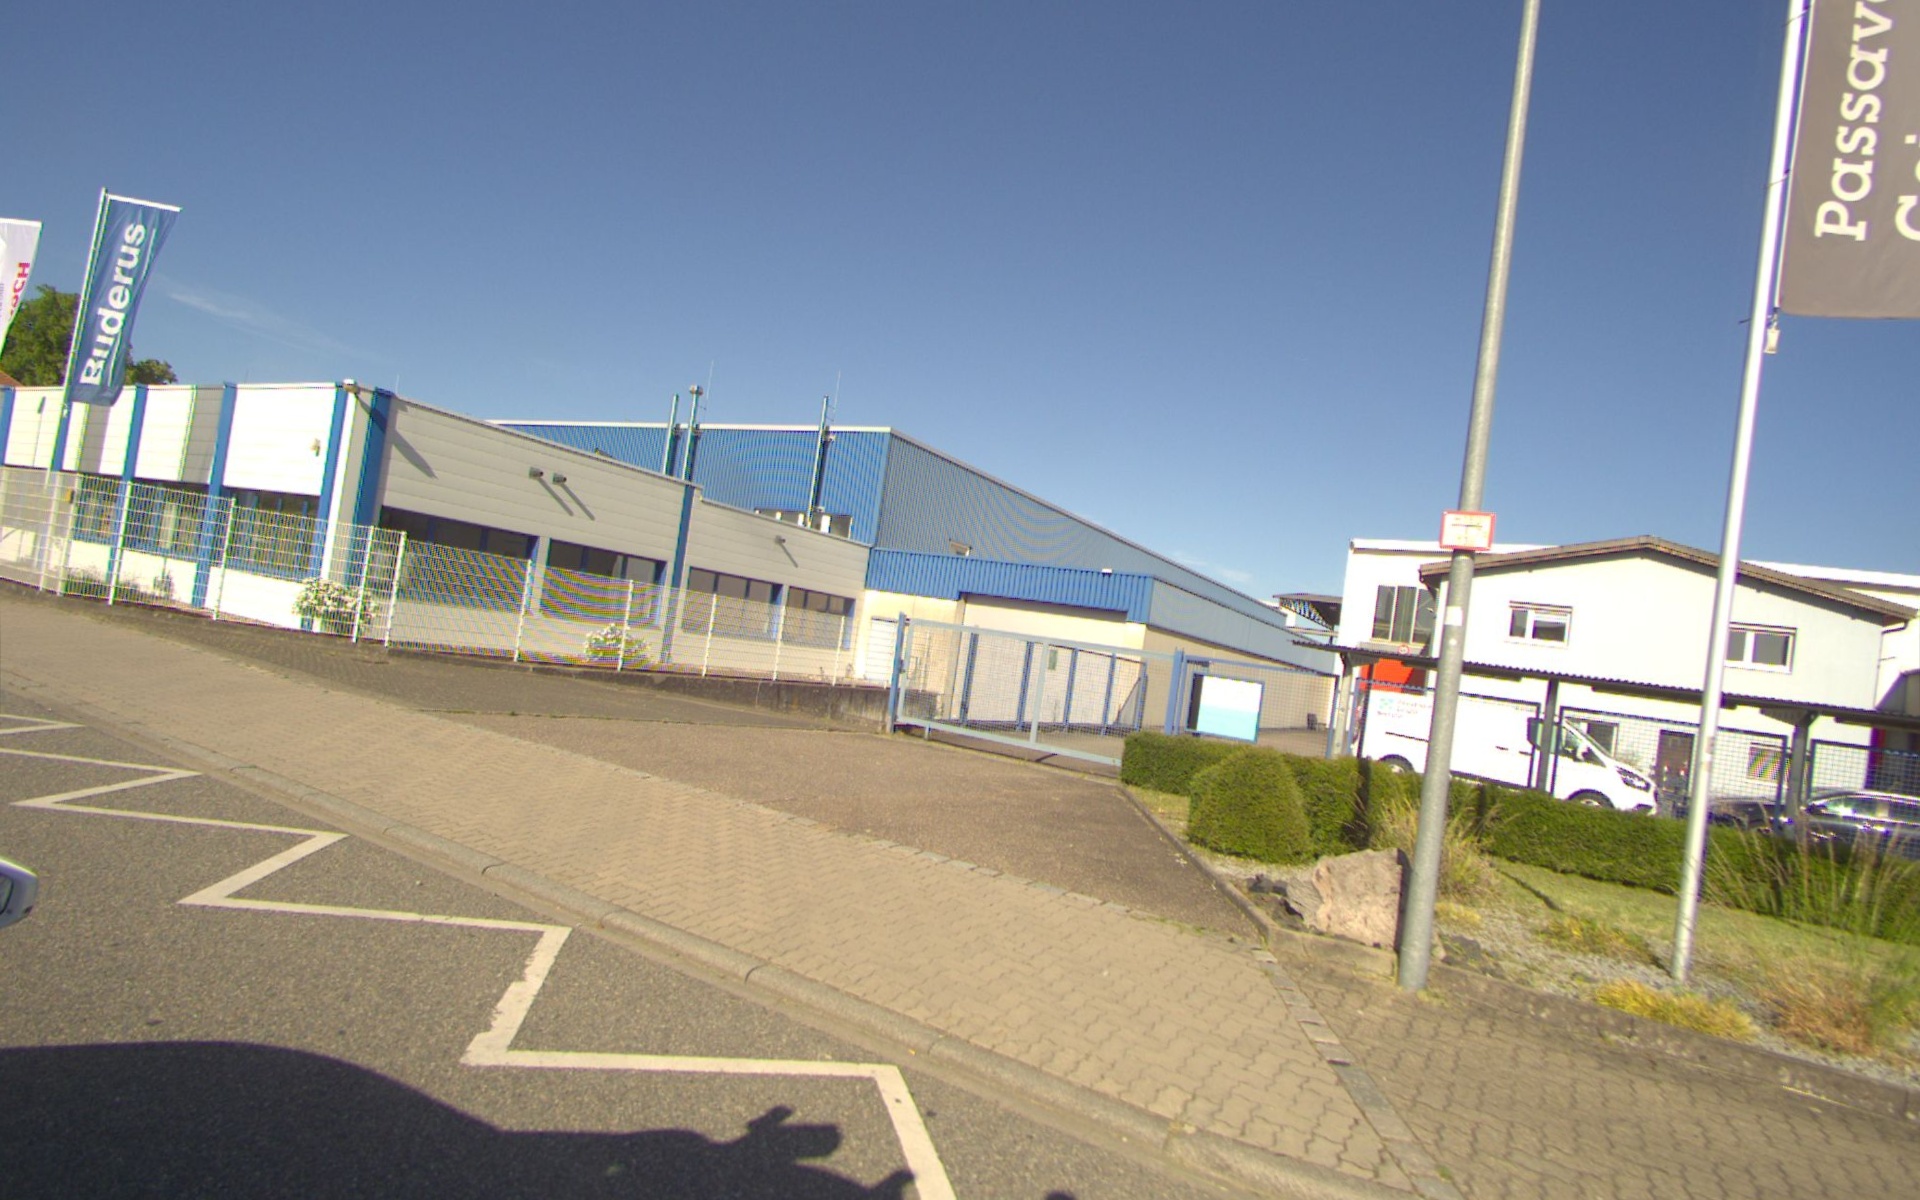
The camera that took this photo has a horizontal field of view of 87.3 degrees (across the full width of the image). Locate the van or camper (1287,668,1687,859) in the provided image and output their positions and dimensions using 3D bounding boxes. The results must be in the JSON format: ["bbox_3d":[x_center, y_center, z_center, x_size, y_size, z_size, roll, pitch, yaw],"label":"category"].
[{"bbox_3d":[10.022,3.013,19.591,6.410,2.407,2.105,6,-4,34],"label":"van or camper"}]

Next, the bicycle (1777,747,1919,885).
[{"bbox_3d":[17.174,3.960,17.658,3.932,2.036,1.999,7,-2,30],"label":"bicycle"}]
